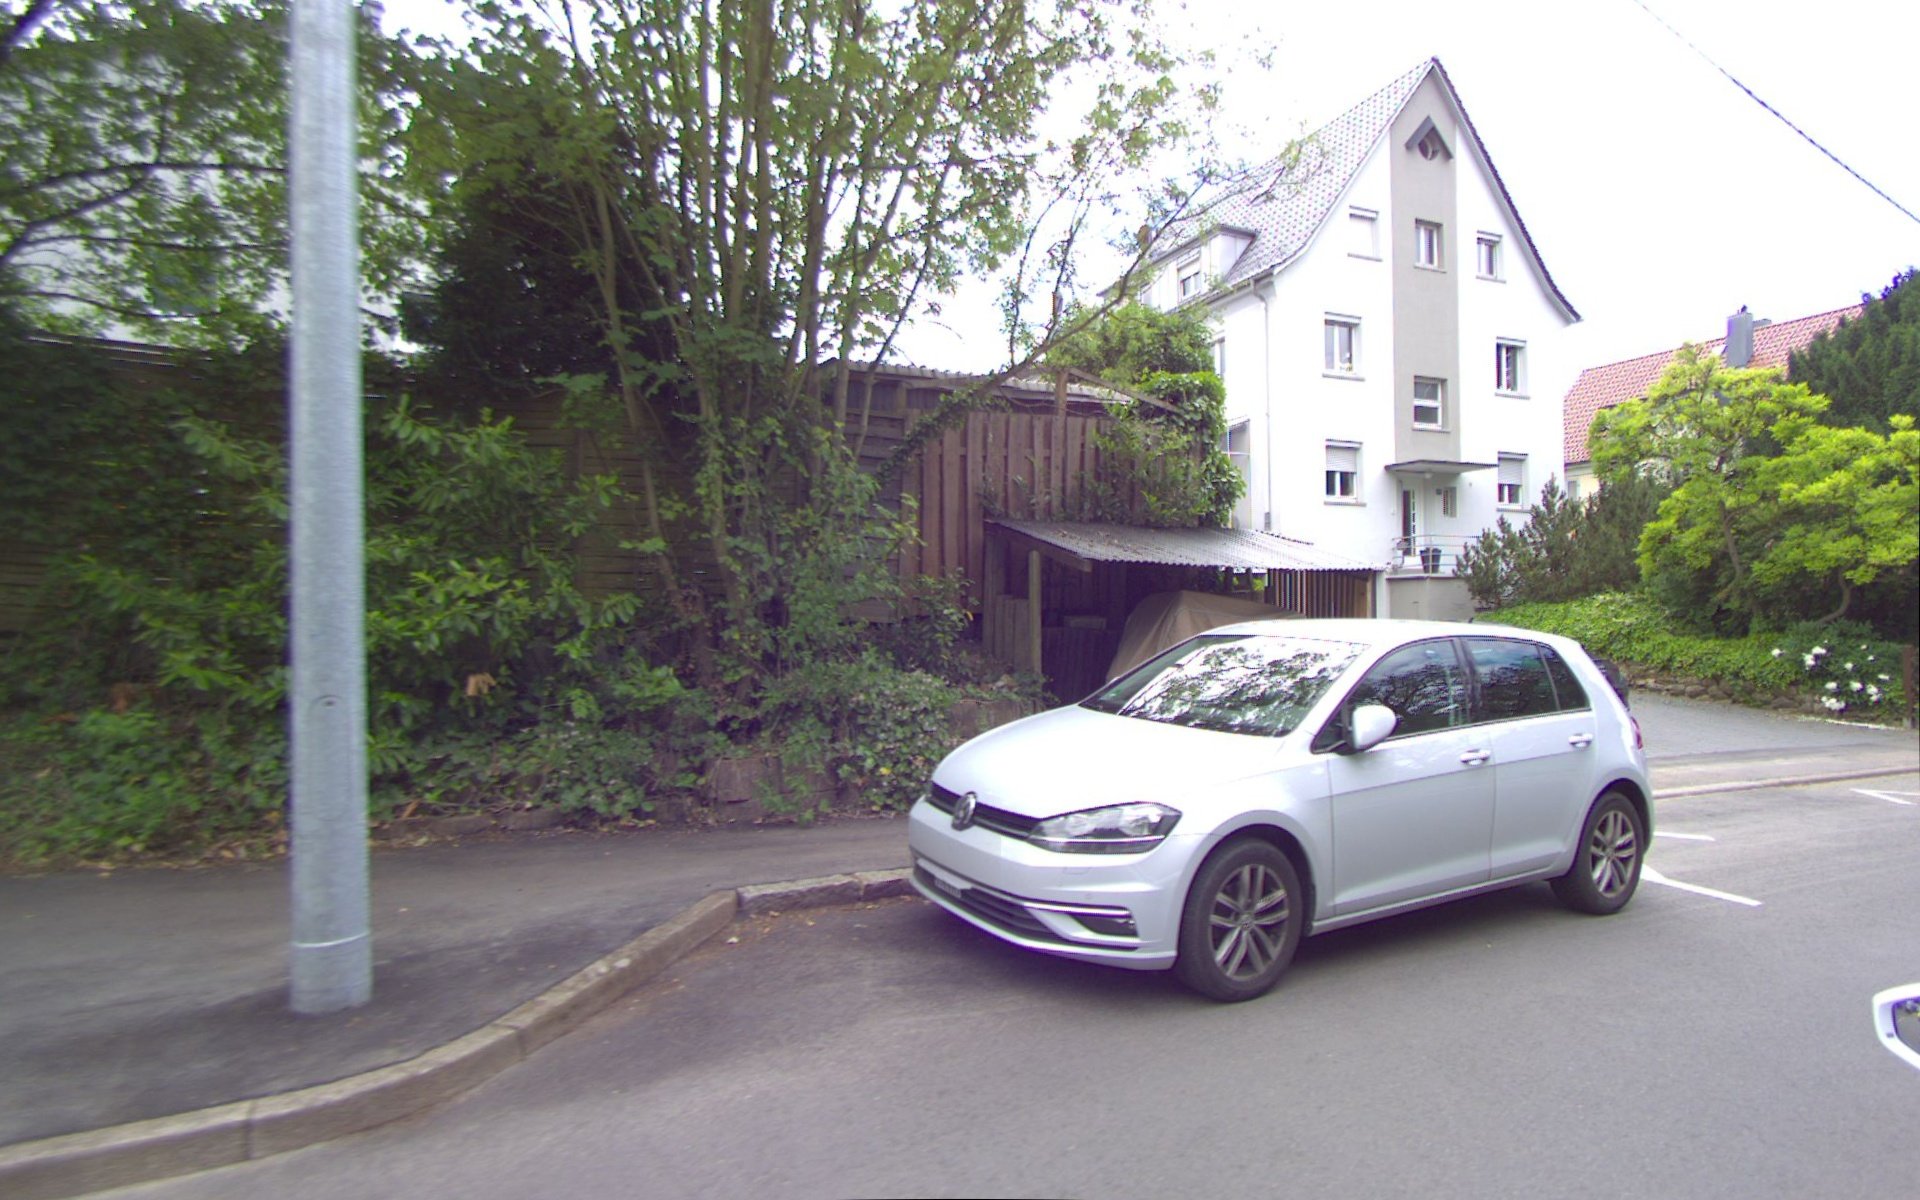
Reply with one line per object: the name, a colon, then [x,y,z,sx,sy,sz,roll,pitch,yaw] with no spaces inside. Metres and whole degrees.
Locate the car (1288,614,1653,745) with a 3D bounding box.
car: [7.042,1.006,14.433,1.854,1.460,4.466,2,0,-26]

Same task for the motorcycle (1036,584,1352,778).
motorcycle: [2.108,0.665,8.846,2.859,1.505,0.806,2,0,-28]

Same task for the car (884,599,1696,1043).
car: [1.800,0.802,5.153,4.027,1.487,1.697,2,0,-30]
